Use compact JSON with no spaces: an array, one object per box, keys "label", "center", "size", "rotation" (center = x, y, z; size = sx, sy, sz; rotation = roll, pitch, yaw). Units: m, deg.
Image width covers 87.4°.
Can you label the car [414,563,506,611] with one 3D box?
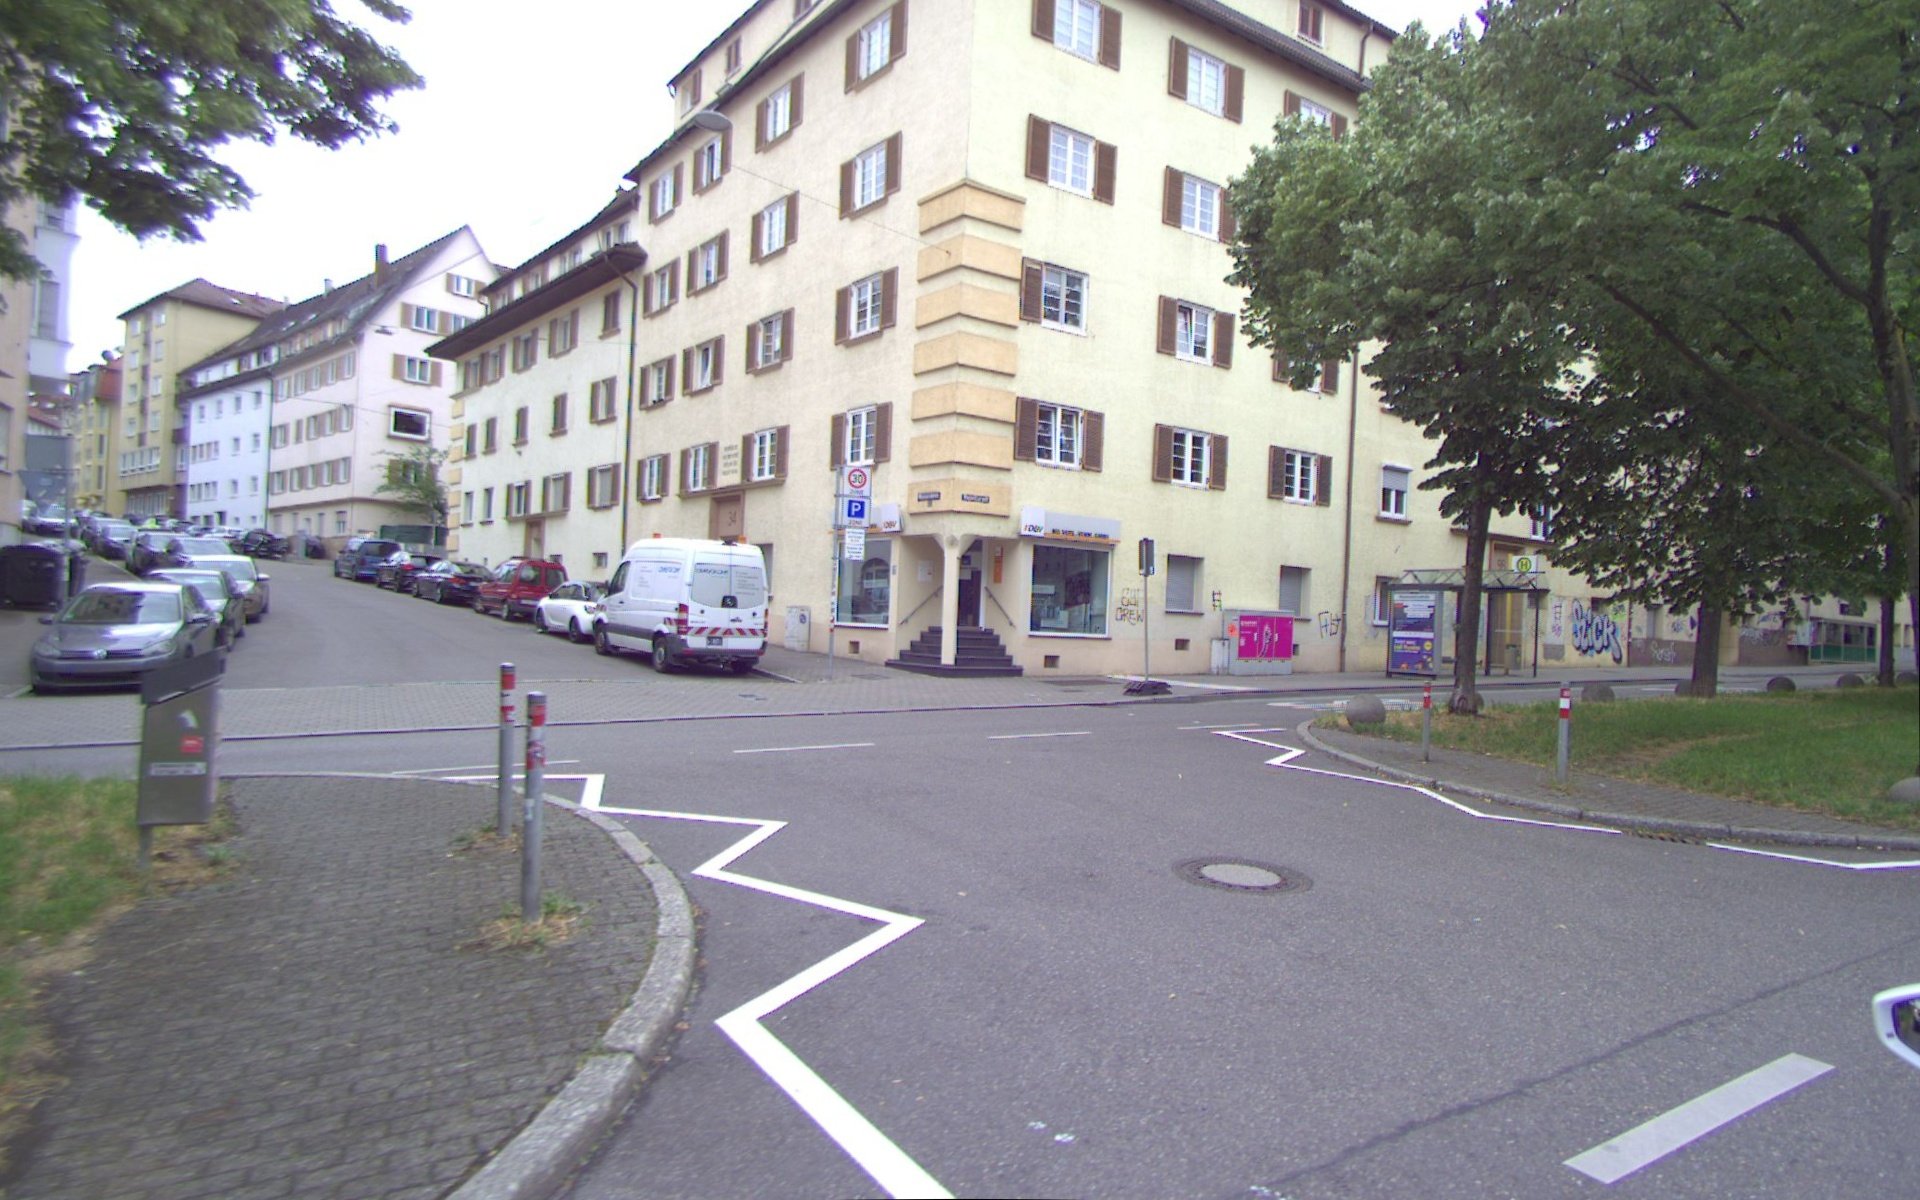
[{"label":"car","center":[-16.961,-0.464,33.994],"size":[1.983,1.483,3.955],"rotation":[1,1,-39]}]

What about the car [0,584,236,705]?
[{"label":"car","center":[-12.795,0.573,15.559],"size":[2.022,1.439,4.269],"rotation":[1,3,-28]}]

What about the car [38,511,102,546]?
[{"label":"car","center":[-50.995,-4.080,57.512],"size":[3.936,1.802,1.992],"rotation":[3,1,37]}]

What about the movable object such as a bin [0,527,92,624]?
[{"label":"movable object such as a bin","center":[-20.356,-0.525,22.406],"size":[1.081,2.040,1.984],"rotation":[1,1,-30]}]

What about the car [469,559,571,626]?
[{"label":"car","center":[-13.160,-0.255,29.949],"size":[1.792,1.848,3.955],"rotation":[1,1,-39]}]

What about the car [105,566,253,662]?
[{"label":"car","center":[-15.087,0.213,19.618],"size":[1.979,1.439,3.961],"rotation":[2,4,-34]}]

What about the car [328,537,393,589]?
[{"label":"car","center":[-25.243,-1.539,42.257],"size":[1.981,2.040,3.959],"rotation":[1,1,-36]}]

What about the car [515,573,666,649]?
[{"label":"car","center":[-9.537,0.221,25.708],"size":[1.986,1.658,4.712],"rotation":[1,2,-42]}]

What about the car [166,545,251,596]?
[{"label":"car","center":[-23.505,-0.933,31.527],"size":[1.980,1.461,3.960],"rotation":[1,1,-35]}]

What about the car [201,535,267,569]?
[{"label":"car","center":[-42.240,-2.804,58.415],"size":[3.936,1.802,1.992],"rotation":[3,1,37]}]

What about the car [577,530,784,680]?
[{"label":"car","center":[-6.091,-0.019,21.414],"size":[2.161,2.773,5.125],"rotation":[1,2,-42]}]

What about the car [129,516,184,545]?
[{"label":"car","center":[-54.707,-4.736,68.345],"size":[3.936,1.802,1.992],"rotation":[3,1,37]}]

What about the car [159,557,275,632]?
[{"label":"car","center":[-17.723,-0.177,24.122],"size":[1.882,1.439,4.007],"rotation":[2,4,-32]}]

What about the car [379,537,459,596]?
[{"label":"car","center":[-20.536,-1.245,38.048],"size":[1.983,2.040,3.955],"rotation":[1,1,-39]}]

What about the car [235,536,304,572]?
[{"label":"car","center":[-38.373,-2.564,55.791],"size":[3.936,1.802,1.992],"rotation":[3,1,37]}]
